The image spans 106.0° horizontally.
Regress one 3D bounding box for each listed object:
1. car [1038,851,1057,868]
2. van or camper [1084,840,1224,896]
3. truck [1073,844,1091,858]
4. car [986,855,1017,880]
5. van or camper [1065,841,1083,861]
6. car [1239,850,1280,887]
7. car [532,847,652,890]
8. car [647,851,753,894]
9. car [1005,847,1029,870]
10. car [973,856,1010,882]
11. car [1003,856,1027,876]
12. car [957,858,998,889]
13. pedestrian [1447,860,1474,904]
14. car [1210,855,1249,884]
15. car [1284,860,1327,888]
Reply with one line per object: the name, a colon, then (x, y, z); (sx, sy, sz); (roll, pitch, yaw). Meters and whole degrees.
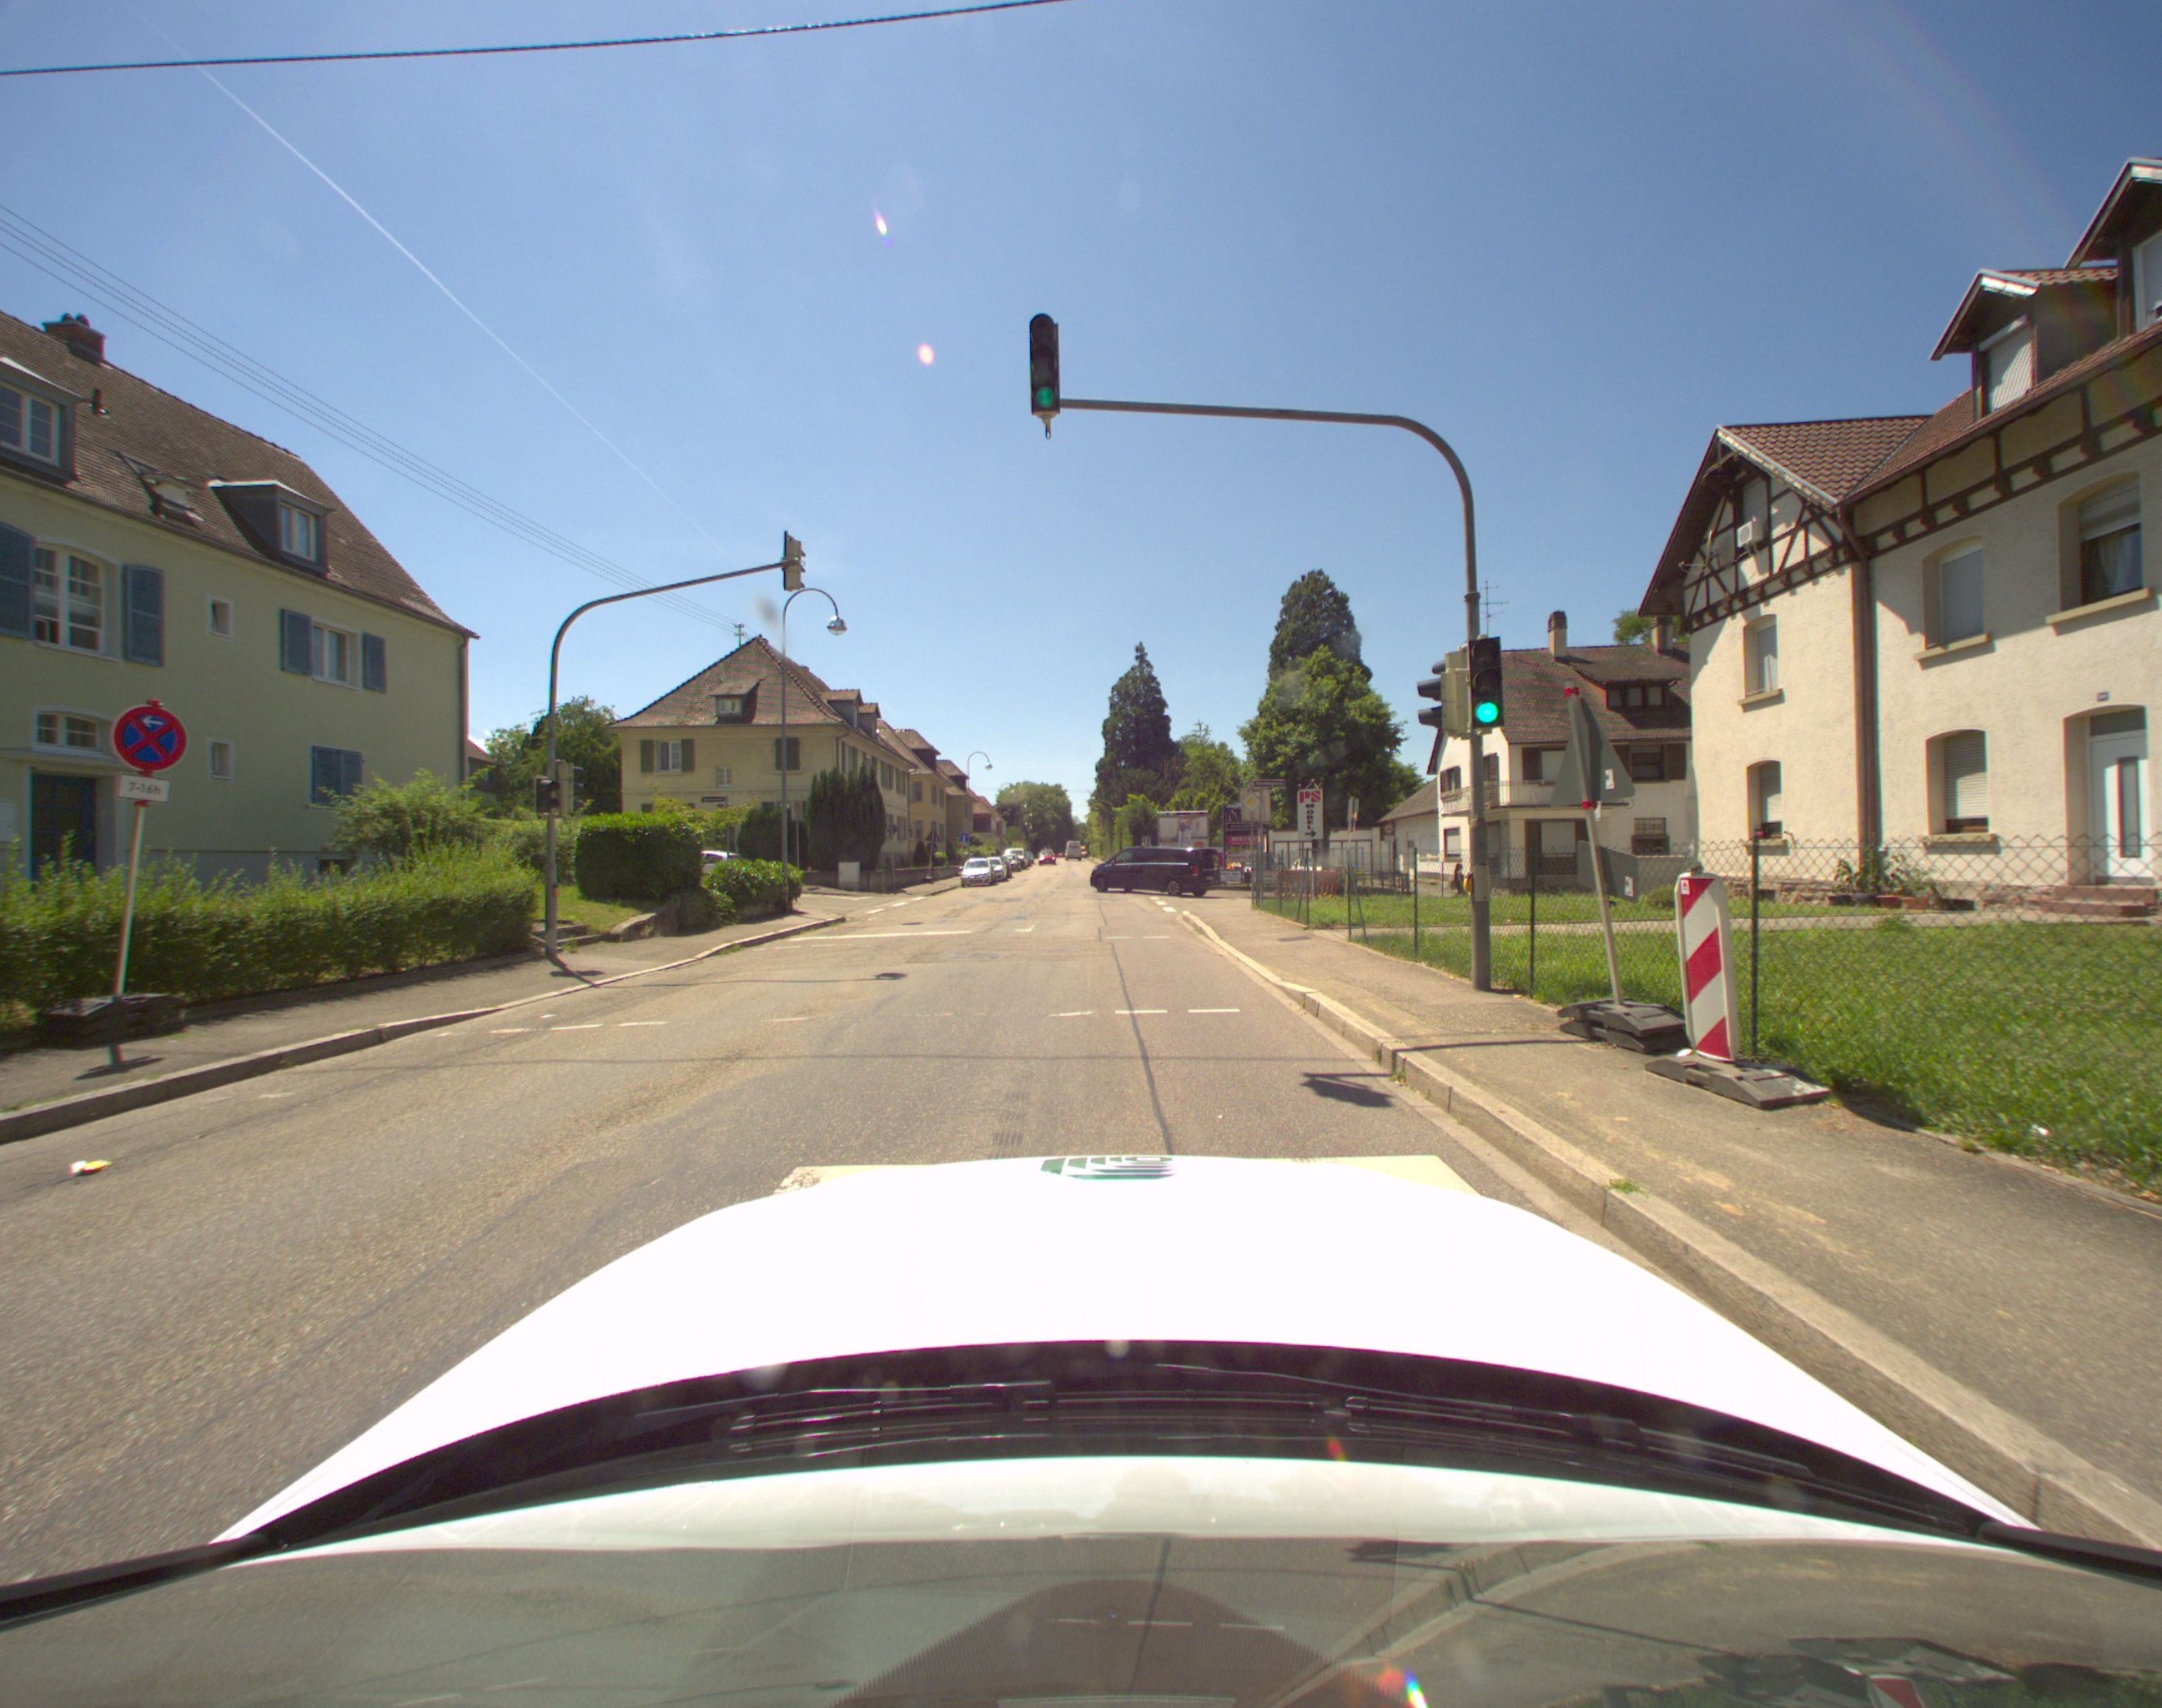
car: (-3.386, 0.529, 83.148); (1.809, 1.566, 3.695); (-2, 0, -1)
van or camper: (2.750, 0.506, 31.414); (5.202, 2.013, 1.921); (0, 0, 39)
truck: (0.115, -0.443, 135.846); (2.352, 2.258, 6.081); (-1, 0, -5)
car: (-5.152, 0.825, 53.182); (1.711, 1.485, 4.072); (-3, 0, -3)
van or camper: (-0.987, -0.407, 109.235); (2.257, 2.528, 4.756); (-2, 0, -2)
car: (8.681, 0.667, 39.871); (1.702, 1.665, 4.470); (1, 0, 9)
car: (-18.872, 0.554, 31.539); (3.563, 1.457, 1.752); (2, -1, 6)
car: (-14.748, 0.714, 31.606); (3.186, 1.457, 1.738); (3, -1, 6)
car: (-5.800, 0.354, 74.228); (1.873, 1.963, 4.623); (-3, 1, -1)
car: (-5.230, 0.866, 48.045); (1.790, 1.402, 4.215); (-3, 0, -2)
car: (-5.374, 0.941, 66.772); (1.682, 1.525, 4.060); (-1, 0, -2)
car: (-5.426, 0.983, 43.195); (1.755, 1.447, 3.921); (-3, 0, -2)
pedestrian: (14.288, 1.057, 30.650); (0.693, 1.600, 0.572); (-2, 0, -1)
car: (10.221, 1.044, 56.357); (1.770, 1.800, 4.163); (3, 0, -2)
car: (10.796, 0.936, 39.370); (1.701, 1.270, 3.394); (0, 0, 10)
